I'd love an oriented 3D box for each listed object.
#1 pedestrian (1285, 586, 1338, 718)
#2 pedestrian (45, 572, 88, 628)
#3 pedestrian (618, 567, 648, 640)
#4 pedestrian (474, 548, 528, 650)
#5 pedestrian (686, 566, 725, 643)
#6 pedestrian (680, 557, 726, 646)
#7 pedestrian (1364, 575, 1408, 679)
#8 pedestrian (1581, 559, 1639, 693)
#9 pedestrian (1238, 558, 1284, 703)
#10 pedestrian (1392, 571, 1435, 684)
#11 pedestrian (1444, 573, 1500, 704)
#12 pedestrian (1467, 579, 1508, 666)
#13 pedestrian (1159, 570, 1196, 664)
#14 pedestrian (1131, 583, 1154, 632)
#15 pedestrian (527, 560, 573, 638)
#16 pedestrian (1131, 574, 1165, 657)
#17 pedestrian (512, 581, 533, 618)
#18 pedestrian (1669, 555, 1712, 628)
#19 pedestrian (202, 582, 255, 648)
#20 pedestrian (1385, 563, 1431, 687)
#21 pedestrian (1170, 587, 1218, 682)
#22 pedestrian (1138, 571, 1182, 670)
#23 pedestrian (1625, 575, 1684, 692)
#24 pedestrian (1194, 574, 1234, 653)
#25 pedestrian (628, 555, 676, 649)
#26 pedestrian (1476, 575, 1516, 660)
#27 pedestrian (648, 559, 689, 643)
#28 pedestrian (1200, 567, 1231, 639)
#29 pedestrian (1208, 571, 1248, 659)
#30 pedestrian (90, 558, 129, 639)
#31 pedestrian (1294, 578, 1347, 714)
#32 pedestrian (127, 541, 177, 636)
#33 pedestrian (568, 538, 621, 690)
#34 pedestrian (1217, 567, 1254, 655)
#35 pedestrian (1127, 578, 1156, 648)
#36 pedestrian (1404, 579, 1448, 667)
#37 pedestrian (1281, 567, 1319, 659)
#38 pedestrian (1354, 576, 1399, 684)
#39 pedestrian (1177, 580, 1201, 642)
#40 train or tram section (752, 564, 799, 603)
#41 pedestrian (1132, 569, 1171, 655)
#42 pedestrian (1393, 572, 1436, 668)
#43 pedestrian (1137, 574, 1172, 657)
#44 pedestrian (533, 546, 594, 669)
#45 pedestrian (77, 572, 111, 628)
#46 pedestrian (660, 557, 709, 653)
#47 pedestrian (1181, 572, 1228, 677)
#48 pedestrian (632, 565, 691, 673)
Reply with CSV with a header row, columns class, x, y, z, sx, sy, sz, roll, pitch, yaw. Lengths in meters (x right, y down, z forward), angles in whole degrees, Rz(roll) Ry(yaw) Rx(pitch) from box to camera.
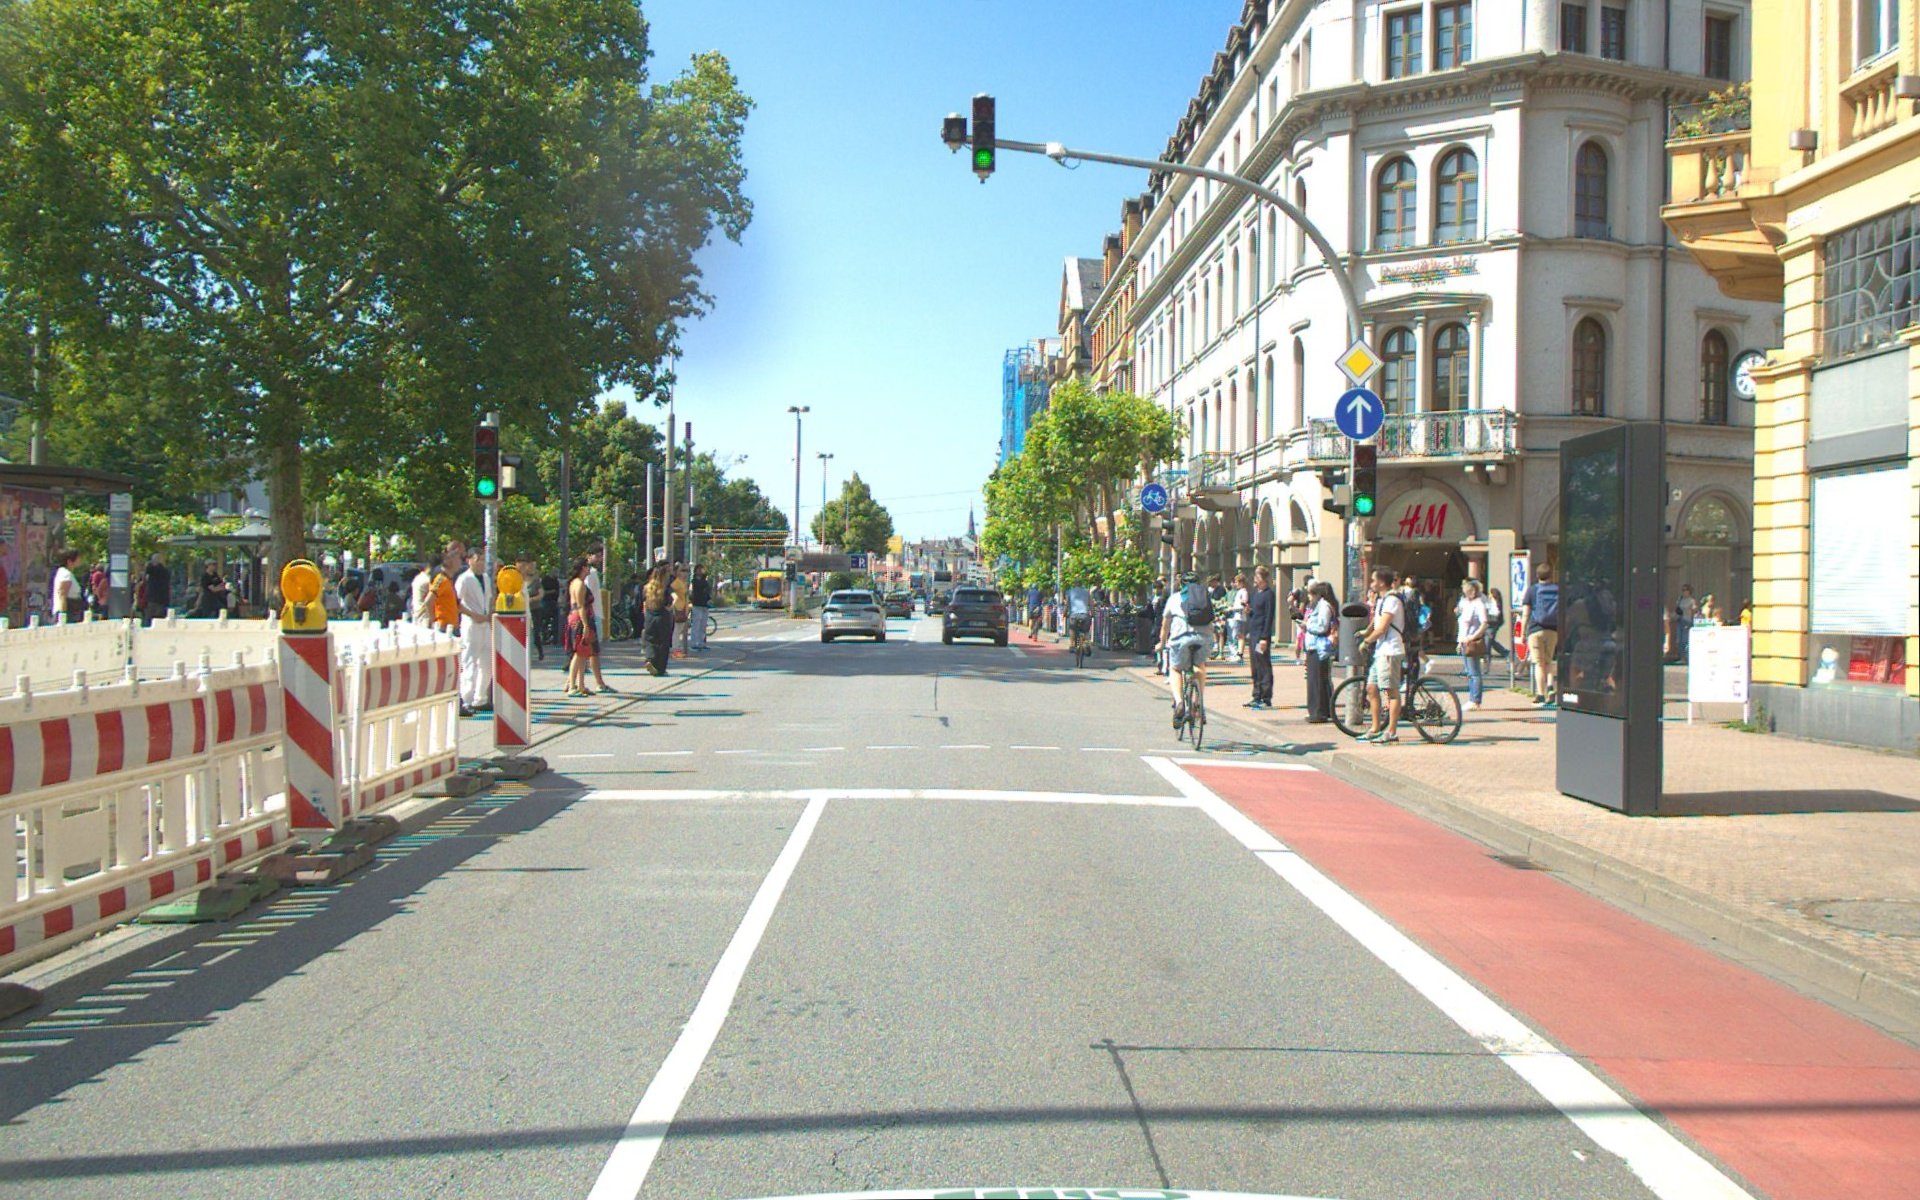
class,x,y,z,sx,sy,sz,roll,pitch,yaw
pedestrian,4.217,0.615,19.858,0.512,1.548,0.641,0,0,2
pedestrian,-24.997,-0.001,46.270,0.728,1.540,0.737,1,0,13
pedestrian,-7.954,0.083,40.296,0.598,1.755,0.677,1,0,-3
pedestrian,-8.447,-0.026,30.424,0.619,1.841,0.731,1,0,20
pedestrian,-5.665,0.104,36.827,0.605,1.697,0.591,1,0,28
pedestrian,-5.504,0.034,35.426,0.620,1.866,0.730,1,0,28
pedestrian,6.784,0.422,26.336,0.512,1.637,0.641,0,0,-1
pedestrian,9.017,0.352,22.947,0.579,1.833,0.547,-1,-1,45
pedestrian,4.061,0.405,22.364,0.512,1.931,0.641,0,0,2
pedestrian,7.055,0.423,25.752,0.512,1.732,0.535,0,0,-1
pedestrian,6.624,0.489,21.410,0.537,1.668,0.589,0,0,2
pedestrian,10.282,0.433,32.255,0.529,1.661,0.677,1,0,-3
pedestrian,4.355,0.339,33.091,0.598,1.855,0.677,1,0,-3
pedestrian,6.290,0.261,56.982,0.662,1.694,0.611,1,0,-3
pedestrian,-9.572,-0.015,38.621,0.665,1.795,0.765,1,0,28
pedestrian,4.029,0.328,35.427,0.571,1.729,0.605,-2,0,-3
pedestrian,-20.774,-0.020,78.508,0.695,1.737,0.656,1,0,14
pedestrian,16.702,-0.192,37.812,0.649,1.628,0.563,2,1,-27
pedestrian,-14.761,0.297,33.393,0.619,1.315,0.731,1,0,20
pedestrian,6.806,0.371,25.151,0.512,1.855,0.641,0,0,-1
pedestrian,3.909,0.569,27.689,0.598,1.541,0.677,-3,0,-3
pedestrian,3.694,0.379,30.538,0.598,1.770,0.677,-3,0,-3
pedestrian,9.600,0.456,22.860,0.579,1.596,0.547,-1,0,45
pedestrian,5.651,0.295,36.797,0.603,1.735,0.671,0,0,-29
pedestrian,-6.287,0.033,33.806,0.620,1.891,0.730,1,0,28
pedestrian,11.572,0.376,35.706,0.598,1.794,0.677,1,0,-3
pedestrian,-6.481,0.022,36.791,0.605,1.855,0.663,1,0,28
pedestrian,6.589,0.076,42.661,0.662,1.823,0.612,1,0,-1
pedestrian,5.775,0.322,35.639,0.598,1.838,0.677,-4,0,-3
pedestrian,-17.331,-0.029,33.694,0.488,1.631,0.498,-1,-1,19
pedestrian,4.464,0.557,20.496,0.537,1.659,0.589,0,0,2
pedestrian,-15.933,-0.226,32.621,0.619,1.842,0.615,-2,-1,19
pedestrian,-4.786,0.184,21.673,0.521,1.953,0.560,1,0,1
pedestrian,5.812,0.228,34.912,0.598,1.838,0.677,1,0,-3
pedestrian,4.296,0.305,39.198,0.519,1.622,0.611,1,3,25
pedestrian,8.986,0.434,31.916,0.598,1.646,0.677,1,2,-3
pedestrian,6.978,0.267,33.949,0.598,1.855,0.677,1,0,-3
pedestrian,6.424,0.463,25.501,0.512,1.640,0.641,0,0,-1
pedestrian,6.767,0.317,48.863,0.615,1.823,0.612,1,0,-1
train or tram section,-16.637,-1.508,150.002,2.558,3.406,11.006,1,1,2
pedestrian,4.387,0.279,37.877,0.674,1.931,0.611,-2,0,25
pedestrian,8.807,0.388,32.074,0.598,1.838,0.677,1,0,-3
pedestrian,4.081,0.329,34.787,0.571,1.703,0.605,-2,0,-3
pedestrian,-6.183,0.112,25.796,0.619,1.891,0.687,1,0,20
pedestrian,-23.896,-0.009,45.666,0.593,1.540,0.745,1,0,-8
pedestrian,-5.311,0.097,31.920,0.619,1.825,0.731,1,0,20
pedestrian,4.323,0.430,29.241,0.598,1.790,0.677,-3,0,-3
pedestrian,-4.601,0.287,25.511,0.619,1.623,0.687,1,0,20
